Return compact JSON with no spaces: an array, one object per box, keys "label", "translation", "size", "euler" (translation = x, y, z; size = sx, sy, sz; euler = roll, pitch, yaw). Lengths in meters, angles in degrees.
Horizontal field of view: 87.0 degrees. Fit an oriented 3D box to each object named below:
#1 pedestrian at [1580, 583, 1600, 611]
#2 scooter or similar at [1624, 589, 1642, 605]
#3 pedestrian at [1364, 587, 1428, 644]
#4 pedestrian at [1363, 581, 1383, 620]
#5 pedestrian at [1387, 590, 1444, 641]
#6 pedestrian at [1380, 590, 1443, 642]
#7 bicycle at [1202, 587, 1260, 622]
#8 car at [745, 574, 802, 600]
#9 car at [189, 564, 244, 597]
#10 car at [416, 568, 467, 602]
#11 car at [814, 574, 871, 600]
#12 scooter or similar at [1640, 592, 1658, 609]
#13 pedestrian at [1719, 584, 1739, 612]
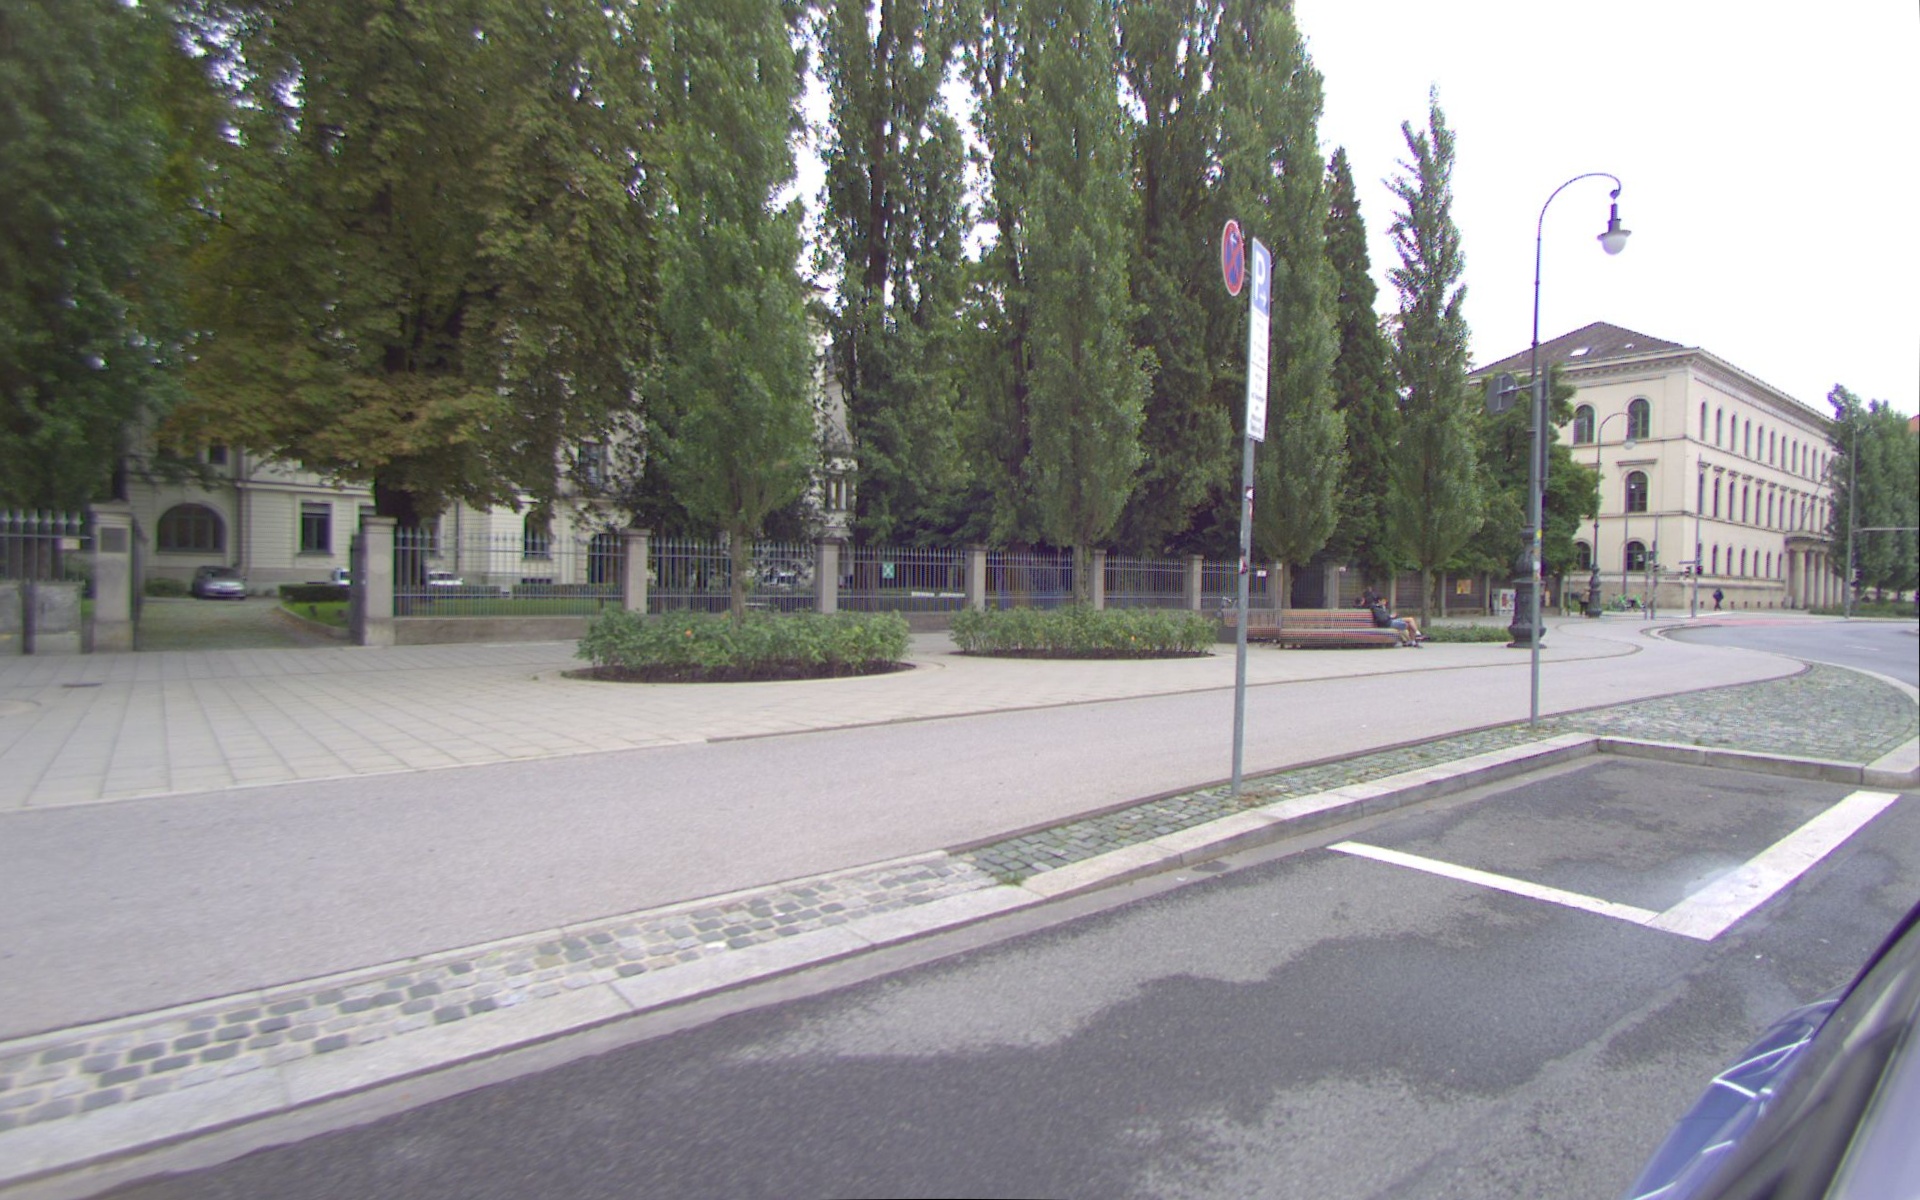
[{"label":"pedestrian","translation":[36.269,-0.178,58.254],"size":[0.803,1.618,0.738],"euler":[0,1,-38]},{"label":"scooter or similar","translation":[47.486,-0.223,71.429],"size":[1.626,1.155,0.568],"euler":[0,1,-38]},{"label":"pedestrian","translation":[10.270,0.353,23.829],"size":[1.318,1.290,0.800],"euler":[0,0,29]},{"label":"pedestrian","translation":[17.346,0.017,42.521],"size":[0.527,1.640,0.590],"euler":[0,0,-39]},{"label":"pedestrian","translation":[11.357,0.380,25.286],"size":[1.251,1.231,0.571],"euler":[0,0,22]},{"label":"pedestrian","translation":[10.956,0.377,24.609],"size":[1.354,1.222,0.802],"euler":[0,0,23]},{"label":"bicycle","translation":[10.039,0.146,37.410],"size":[0.672,1.254,2.951],"euler":[3,2,44]},{"label":"car","translation":[-11.775,-0.825,63.684],"size":[1.962,1.594,4.470],"euler":[0,1,-34]},{"label":"car","translation":[-33.939,-0.906,46.141],"size":[1.800,1.420,4.211],"euler":[0,2,-39]},{"label":"car","translation":[-26.278,-0.791,51.221],"size":[1.620,1.638,3.998],"euler":[0,1,-38]},{"label":"car","translation":[-7.648,-0.856,65.705],"size":[1.914,1.594,4.267],"euler":[0,1,-34]},{"label":"scooter or similar","translation":[48.424,0.022,71.088],"size":[1.626,1.155,0.568],"euler":[0,1,-38]},{"label":"pedestrian","translation":[56.564,-0.159,74.448],"size":[0.984,2.039,0.944],"euler":[0,1,-38]}]
